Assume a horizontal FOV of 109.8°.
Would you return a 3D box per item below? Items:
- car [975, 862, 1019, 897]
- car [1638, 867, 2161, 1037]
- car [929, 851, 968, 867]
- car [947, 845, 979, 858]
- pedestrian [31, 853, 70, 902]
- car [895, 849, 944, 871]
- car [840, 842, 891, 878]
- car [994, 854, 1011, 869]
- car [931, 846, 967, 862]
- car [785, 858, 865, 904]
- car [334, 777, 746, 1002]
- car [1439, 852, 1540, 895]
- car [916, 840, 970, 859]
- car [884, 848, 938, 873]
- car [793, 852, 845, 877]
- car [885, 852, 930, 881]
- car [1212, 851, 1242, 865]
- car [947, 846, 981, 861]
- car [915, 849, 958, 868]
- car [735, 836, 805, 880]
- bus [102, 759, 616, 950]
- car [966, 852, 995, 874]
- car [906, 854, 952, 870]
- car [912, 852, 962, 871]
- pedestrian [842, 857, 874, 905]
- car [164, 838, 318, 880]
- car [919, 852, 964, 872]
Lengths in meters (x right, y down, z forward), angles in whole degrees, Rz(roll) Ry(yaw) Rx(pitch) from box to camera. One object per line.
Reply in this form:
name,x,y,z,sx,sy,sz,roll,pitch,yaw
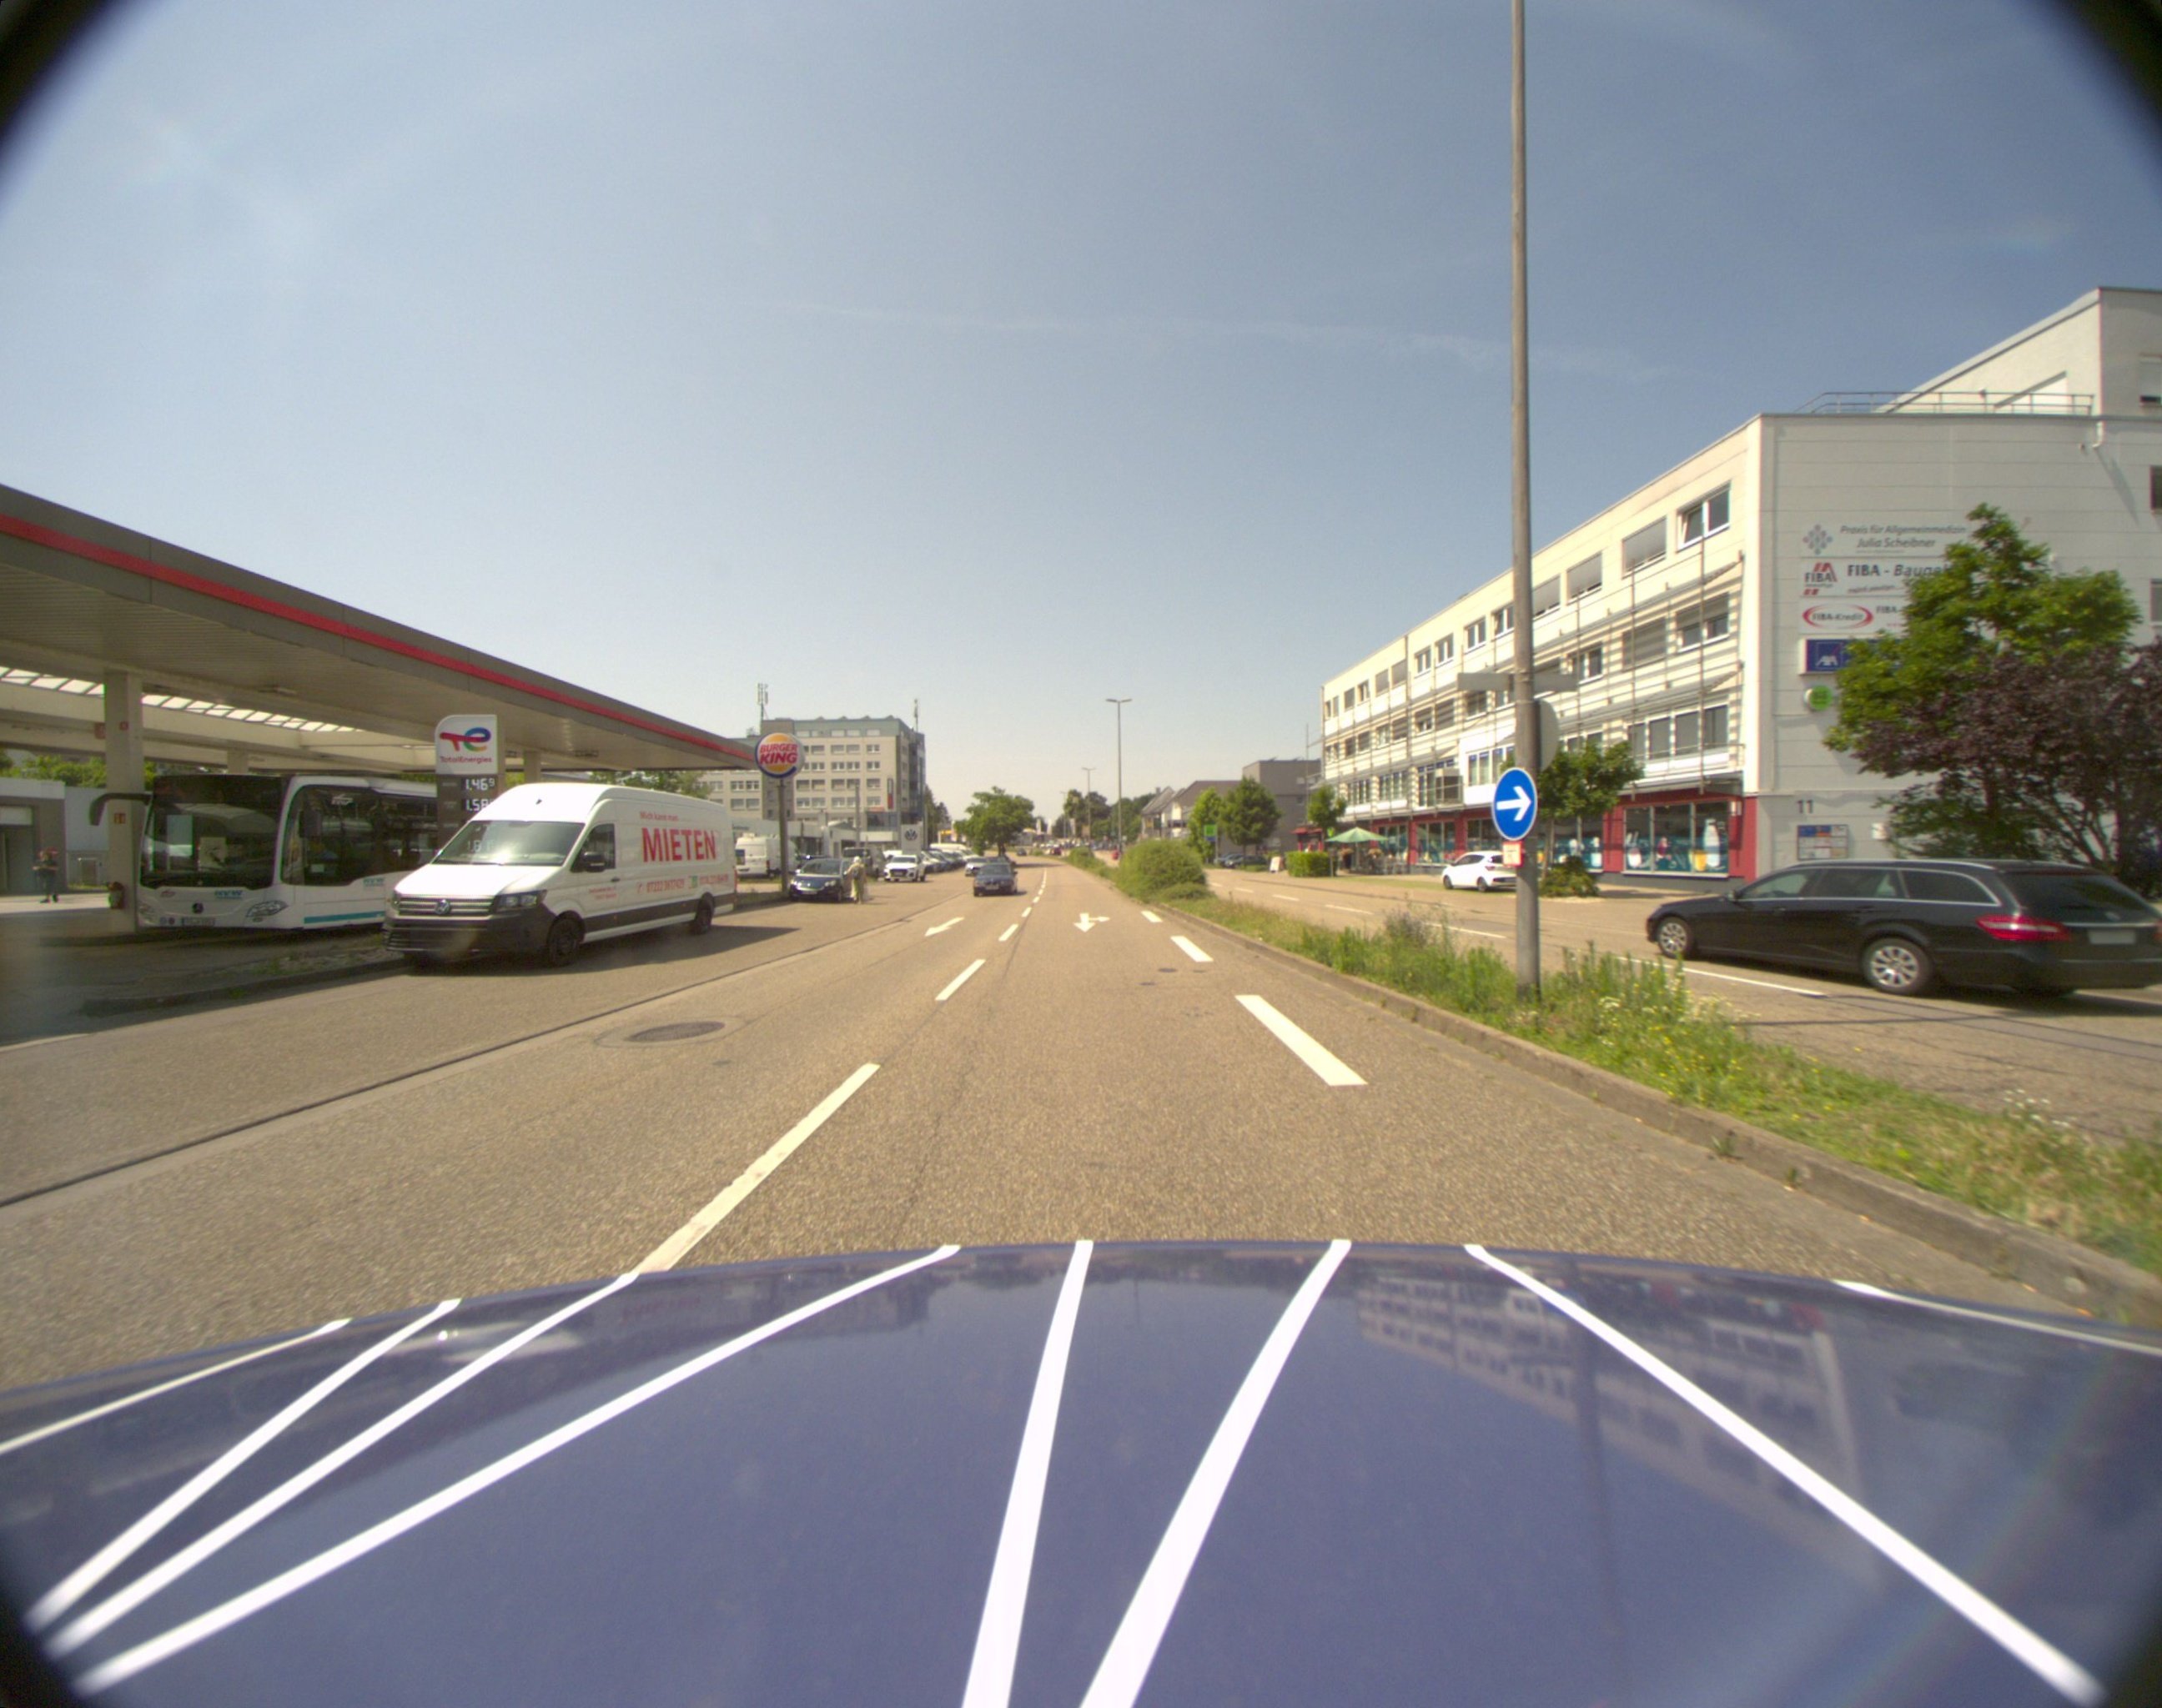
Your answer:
car,-3.555,1.046,32.658,1.632,1.331,3.755,-1,0,-3
car,9.604,0.939,9.362,1.833,1.452,4.710,0,0,-3
car,-14.253,0.524,81.988,3.999,1.755,1.724,0,1,-7
car,-15.354,-0.338,98.732,3.999,1.755,1.724,0,1,-7
pedestrian,-33.543,0.767,24.746,0.571,1.572,0.493,0,1,2
car,-14.033,0.488,66.120,3.999,1.906,1.724,0,1,-7
car,-12.625,0.328,44.810,1.999,2.002,3.999,0,0,-2
car,-8.137,0.754,78.761,1.562,1.390,4.214,0,0,-3
car,-15.056,0.002,86.869,3.999,1.755,1.724,0,1,-7
car,-8.988,0.891,26.988,1.681,1.440,3.839,1,0,-3
car,-8.364,0.437,13.144,2.183,2.757,7.275,2,0,-3
car,15.325,0.684,28.712,1.696,1.440,3.664,-2,0,-3
car,-18.392,-0.583,101.727,6.884,2.589,1.725,0,1,0
car,-13.492,0.503,60.411,3.999,1.907,1.724,0,1,-7
car,-15.265,0.590,44.418,1.808,1.368,3.999,0,0,-2
car,-10.230,0.721,44.949,1.860,1.572,3.999,1,0,-2
car,14.713,0.377,76.651,2.737,1.404,1.445,0,1,-2
car,-14.353,-0.078,93.238,3.999,1.755,1.724,0,1,-7
car,-14.015,0.424,73.899,3.999,1.776,1.724,0,1,-7
car,-18.000,0.209,44.271,2.059,2.421,5.573,0,0,-4
bus,-14.595,-0.014,16.988,2.756,3.134,9.077,0,0,0
car,-7.690,0.666,58.583,1.867,1.550,3.998,0,0,-3
car,-13.676,0.703,68.568,3.999,1.440,1.724,0,1,-7
car,-12.040,0.622,63.550,3.999,1.568,1.724,0,1,-7
pedestrian,-7.574,0.912,25.829,0.703,1.572,0.821,2,1,7
car,-47.898,0.277,43.625,1.999,2.224,6.382,0,0,-3
car,-13.034,0.757,71.085,3.999,1.838,1.724,0,1,-7
